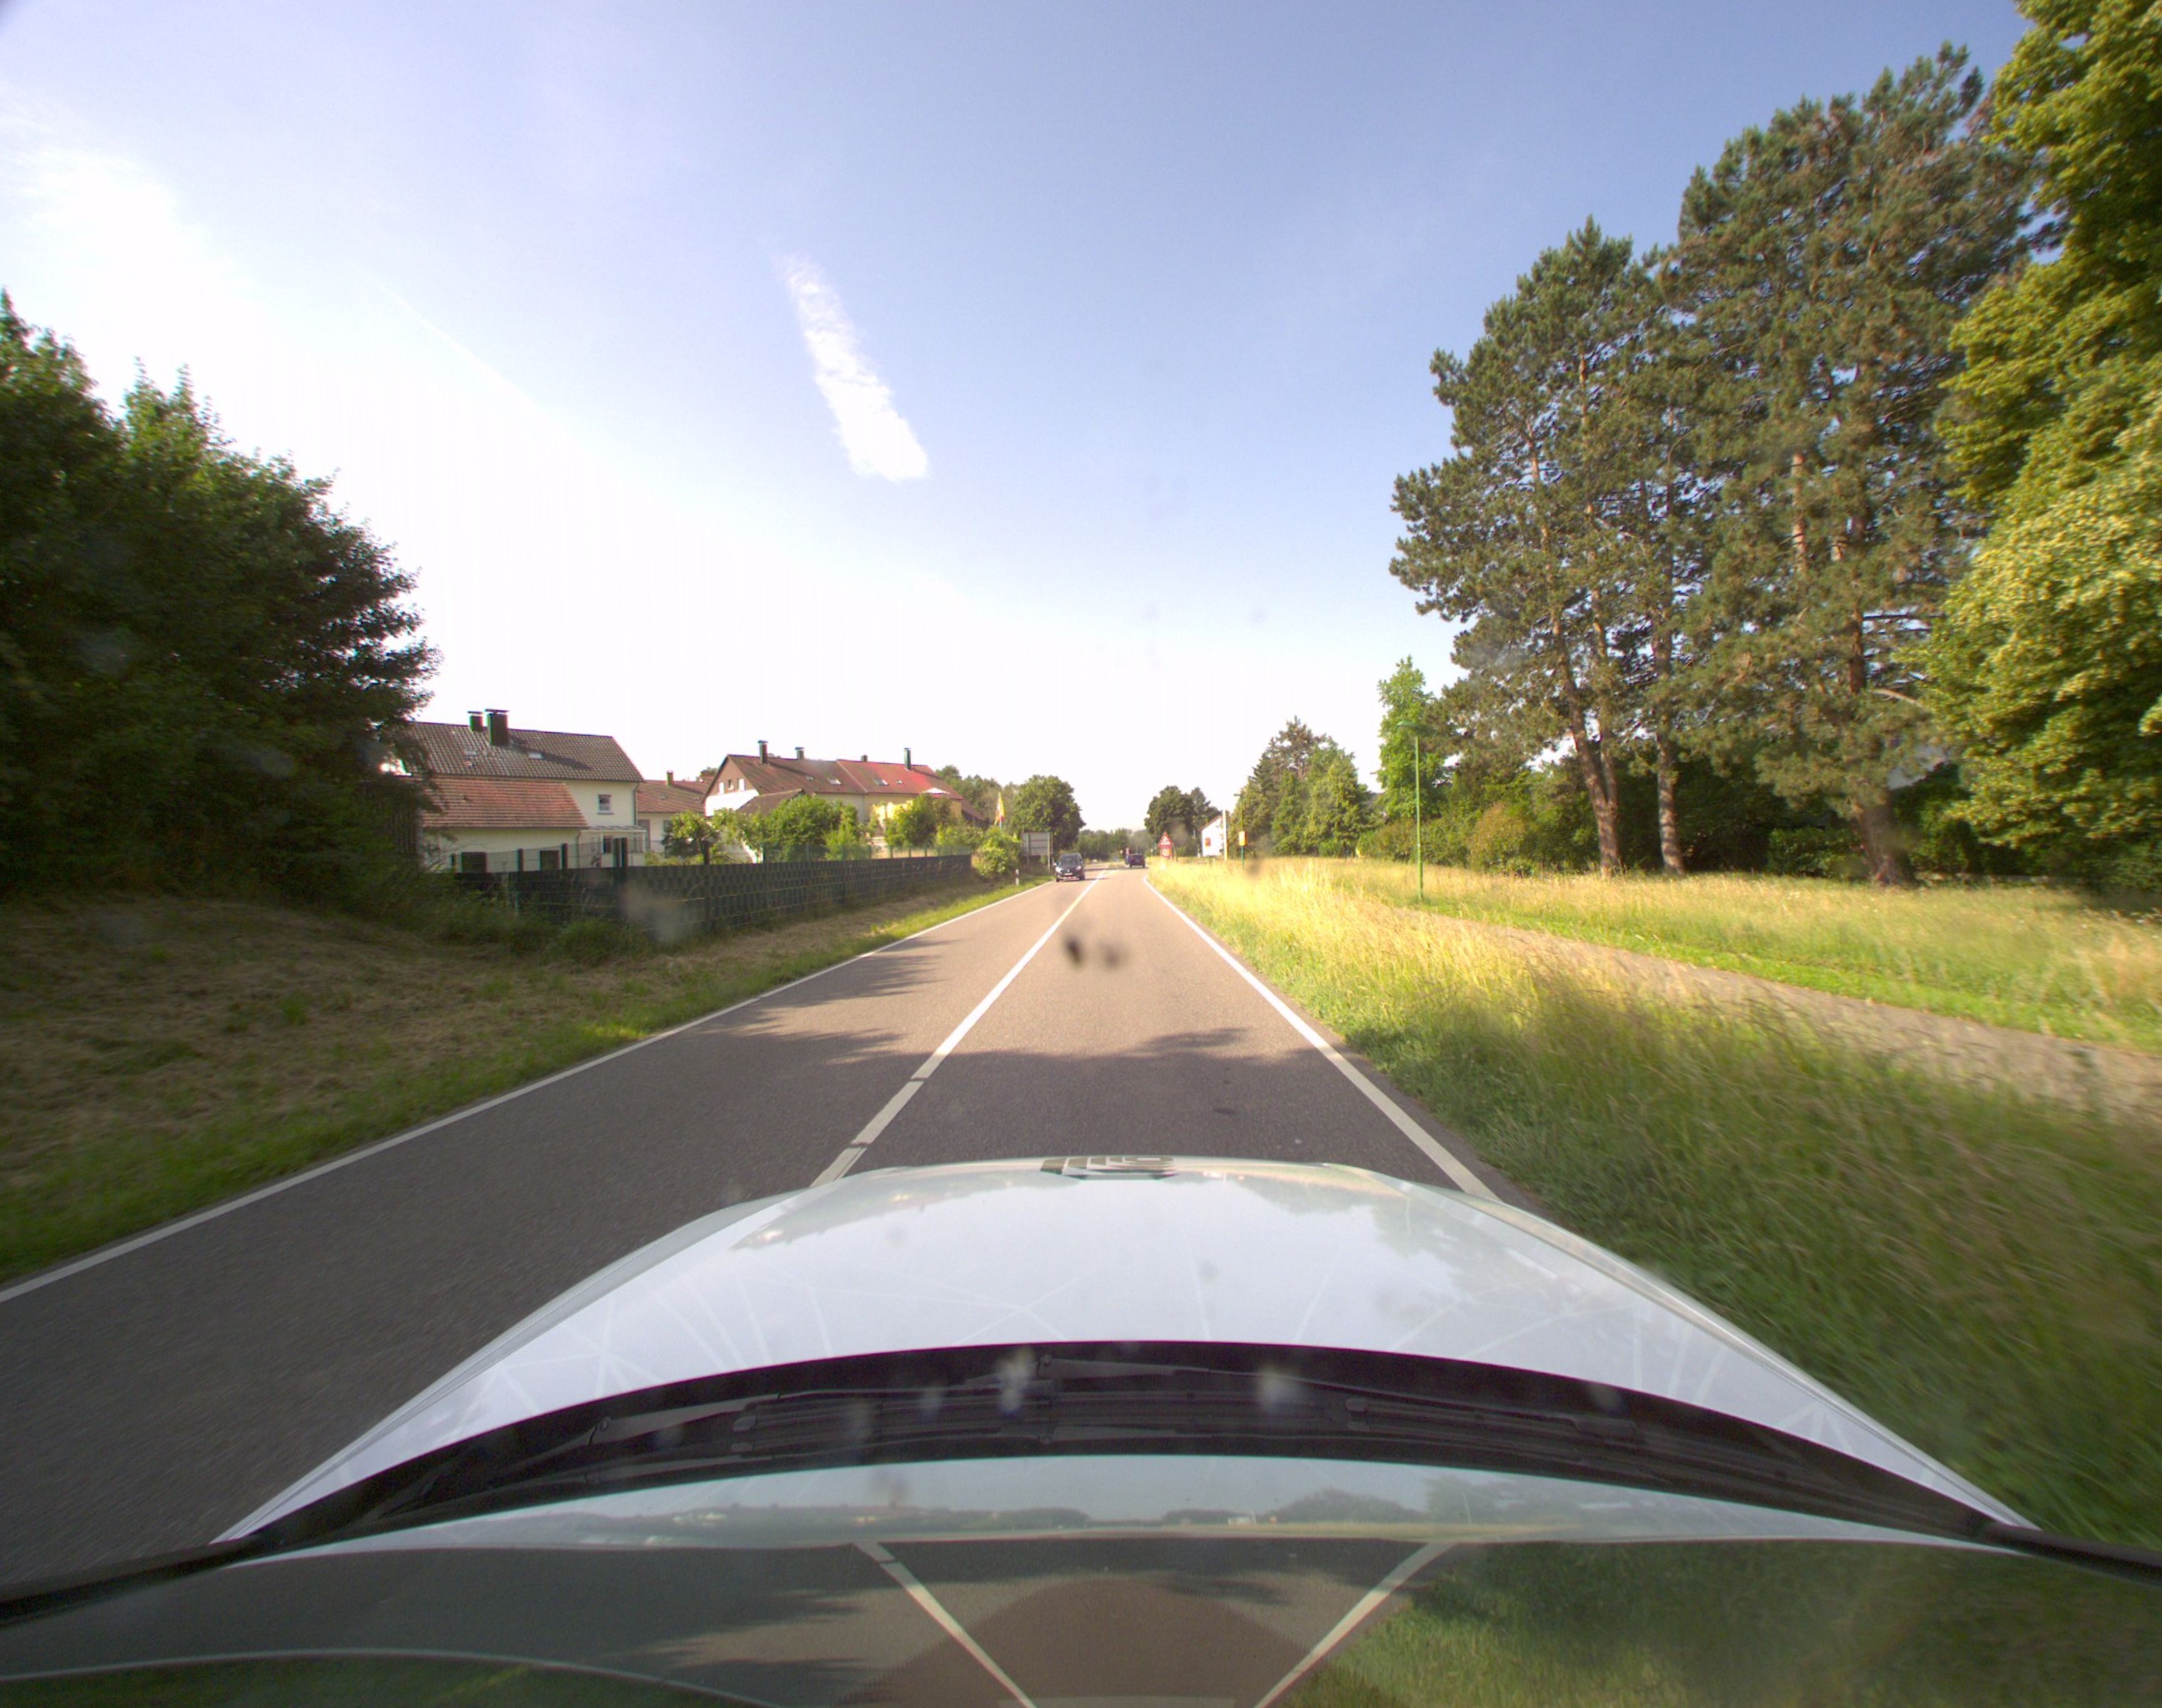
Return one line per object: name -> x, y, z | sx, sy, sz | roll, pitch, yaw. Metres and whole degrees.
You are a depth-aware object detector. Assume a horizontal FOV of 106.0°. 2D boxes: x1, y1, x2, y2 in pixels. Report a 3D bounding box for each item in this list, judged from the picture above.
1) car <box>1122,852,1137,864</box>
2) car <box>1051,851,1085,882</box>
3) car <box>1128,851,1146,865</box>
car -> 7.682, 0.684, 128.864 | 1.998, 1.771, 3.998 | -2, 0, -1
car -> -0.790, 0.797, 53.561 | 1.932, 1.817, 4.243 | -4, 0, 2
car -> 7.034, 0.480, 102.278 | 1.919, 1.771, 4.000 | -2, 0, 0
